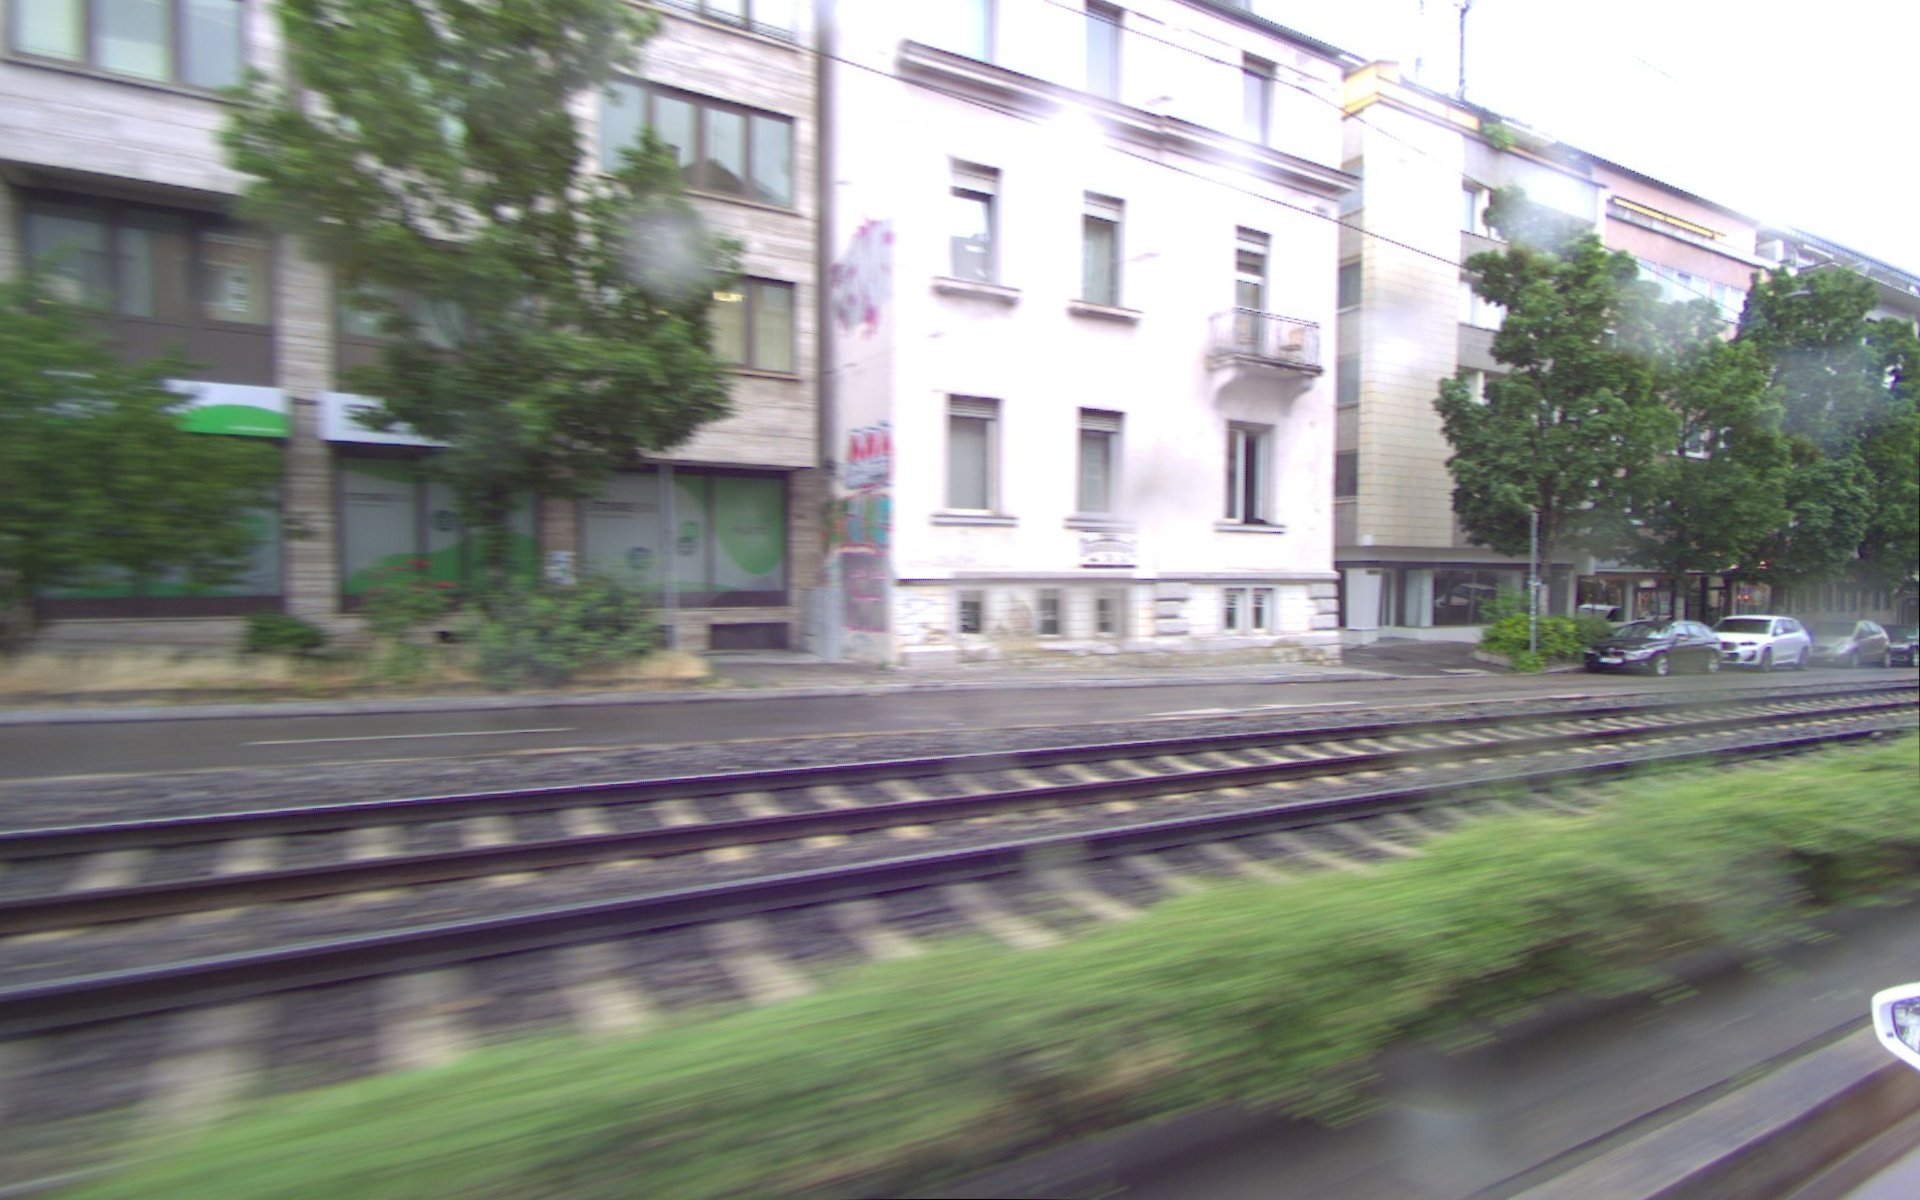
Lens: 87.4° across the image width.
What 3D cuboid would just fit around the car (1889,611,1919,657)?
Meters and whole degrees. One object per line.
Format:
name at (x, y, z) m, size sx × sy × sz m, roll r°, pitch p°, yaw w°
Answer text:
car at (38.329, 1.406, 39.189) m, size 4.380 × 1.723 × 1.846 m, roll 3°, pitch 0°, yaw -30°

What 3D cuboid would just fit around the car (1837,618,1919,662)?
car at (33.461, 1.459, 35.951) m, size 4.380 × 1.436 × 1.846 m, roll 3°, pitch -2°, yaw -30°

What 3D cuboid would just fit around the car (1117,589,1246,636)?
car at (7.588, 0.394, 34.834) m, size 1.840 × 1.437 × 4.393 m, roll 2°, pitch 0°, yaw -31°

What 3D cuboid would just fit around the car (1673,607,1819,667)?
car at (23.793, 1.126, 30.388) m, size 4.666 × 1.569 × 1.846 m, roll 3°, pitch 0°, yaw -30°

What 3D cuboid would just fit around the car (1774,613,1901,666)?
car at (29.386, 1.330, 33.616) m, size 4.380 × 1.569 × 1.846 m, roll 3°, pitch 0°, yaw -30°

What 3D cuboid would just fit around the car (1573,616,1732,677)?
car at (18.770, 1.266, 27.169) m, size 4.666 × 1.396 × 1.685 m, roll 3°, pitch 0°, yaw -30°
